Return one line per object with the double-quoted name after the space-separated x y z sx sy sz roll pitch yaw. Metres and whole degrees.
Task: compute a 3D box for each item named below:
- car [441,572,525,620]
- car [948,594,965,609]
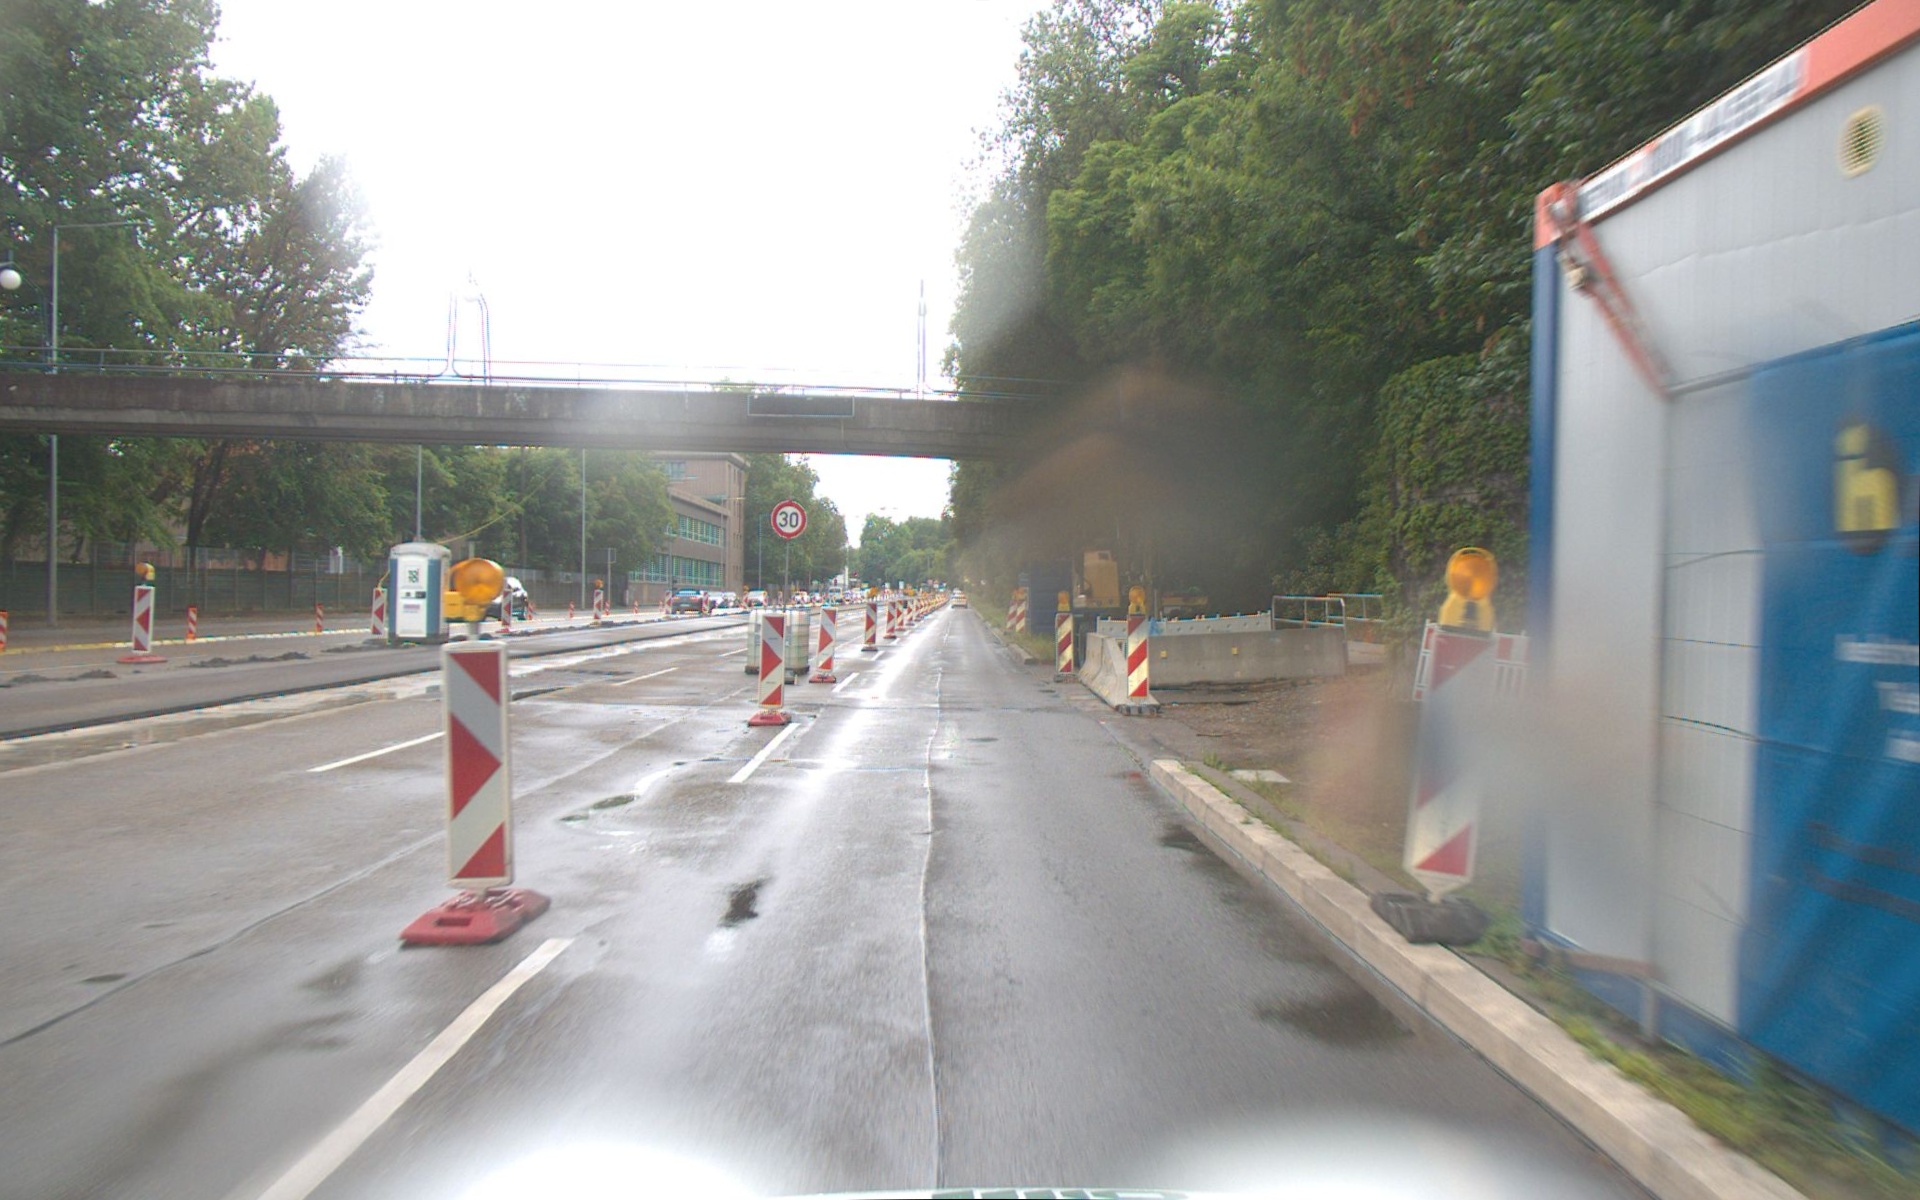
-18.696 -0.153 65.045 1.930 1.837 4.608 0 0 1 "car"
-0.405 0.186 186.752 1.953 1.668 3.999 0 0 -1 "car"
